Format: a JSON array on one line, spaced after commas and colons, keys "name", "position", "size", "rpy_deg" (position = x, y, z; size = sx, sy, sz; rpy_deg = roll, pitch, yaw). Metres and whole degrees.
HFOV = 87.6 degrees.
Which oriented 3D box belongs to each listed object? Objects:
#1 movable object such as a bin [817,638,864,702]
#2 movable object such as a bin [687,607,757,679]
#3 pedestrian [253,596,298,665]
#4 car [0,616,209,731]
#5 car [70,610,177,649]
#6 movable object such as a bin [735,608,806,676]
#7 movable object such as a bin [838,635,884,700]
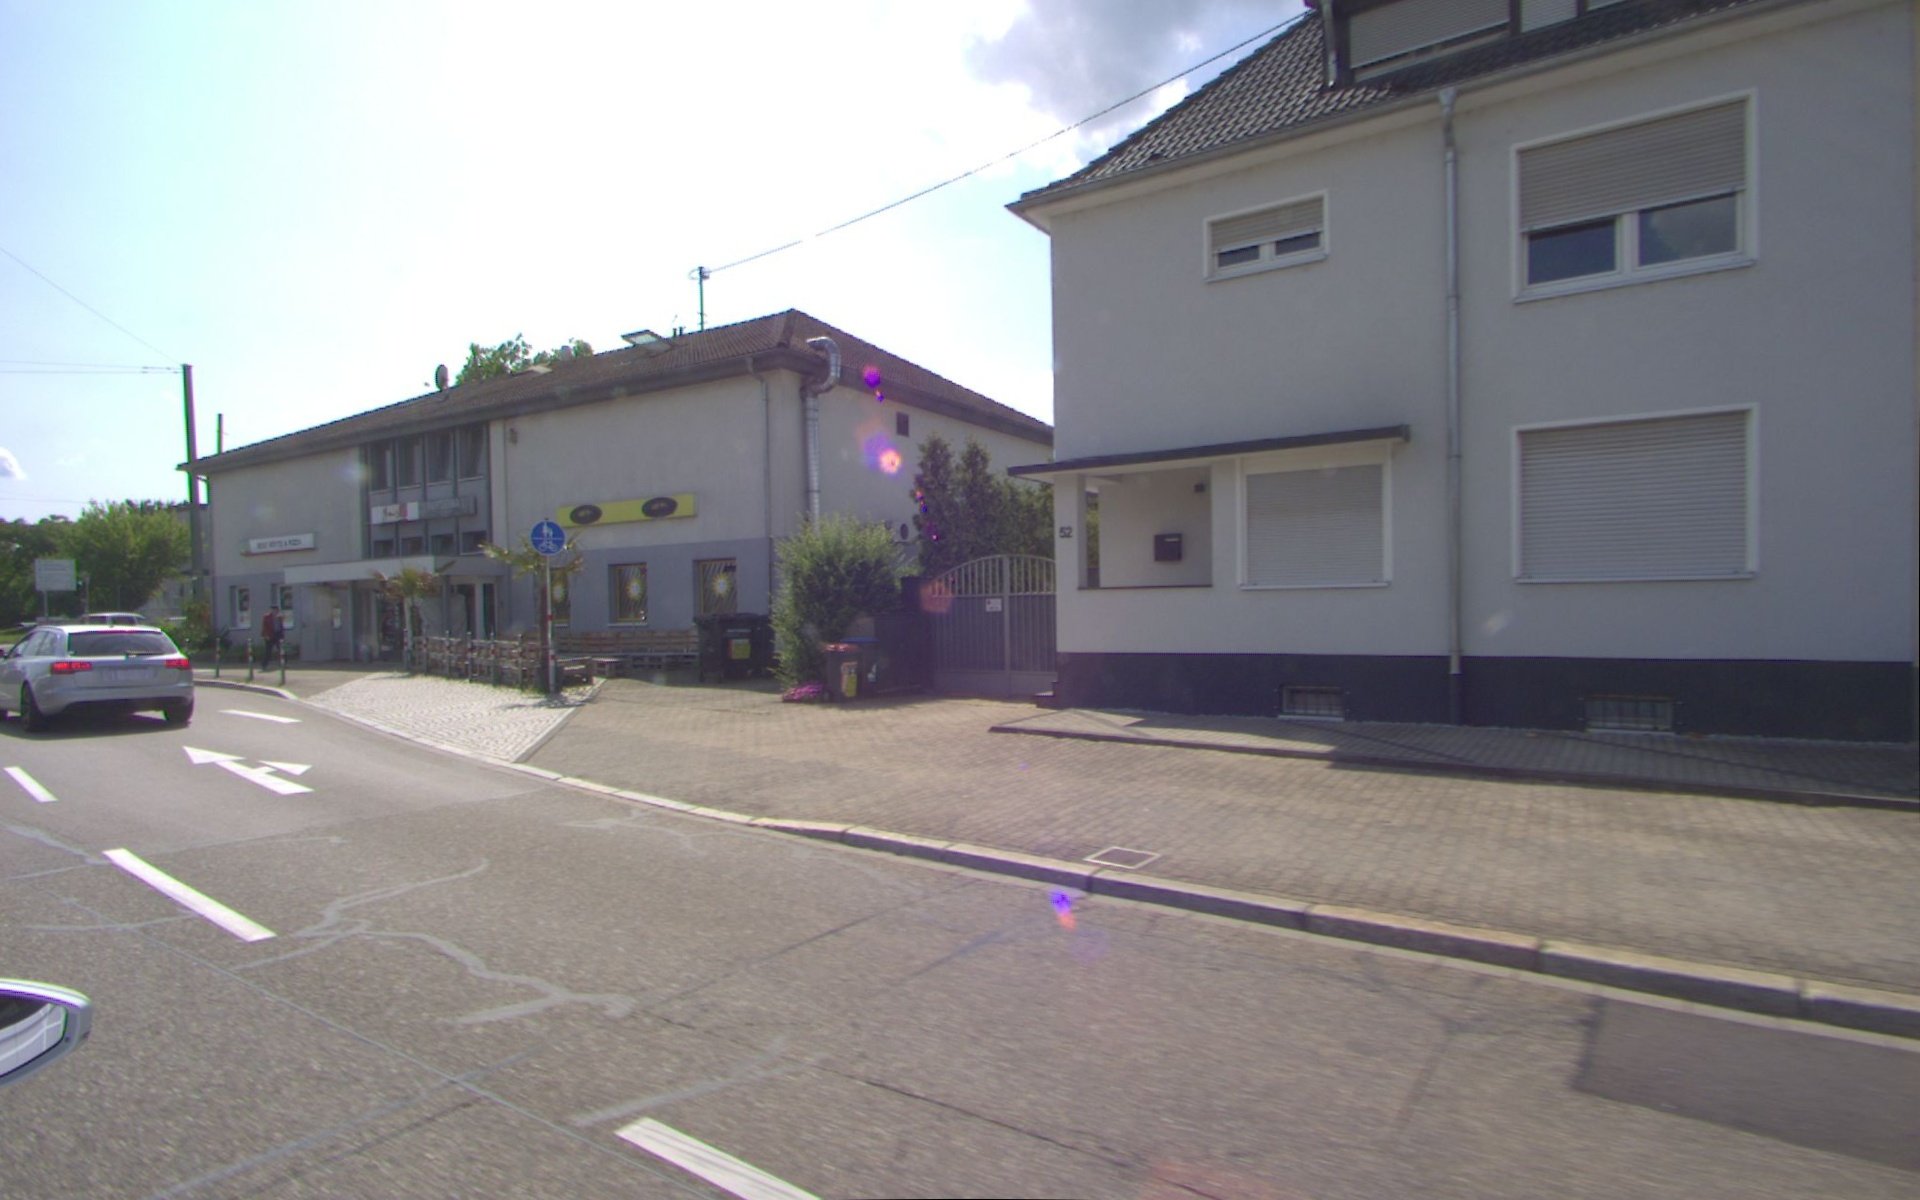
[{"name": "movable object such as a bin", "position": [-1.781, 1.033, 14.925], "size": [0.537, 0.907, 0.444], "rpy_deg": [0, 1, 27]}, {"name": "movable object such as a bin", "position": [-4.769, 0.842, 20.100], "size": [0.874, 1.351, 1.079], "rpy_deg": [2, 3, 34]}, {"name": "pedestrian", "position": [-18.686, 0.823, 27.328], "size": [0.693, 1.807, 0.719], "rpy_deg": [0, 3, 34]}, {"name": "car", "position": [-13.391, 1.007, 15.327], "size": [4.477, 1.512, 1.848], "rpy_deg": [-1, 0, 37]}, {"name": "car", "position": [-41.794, 1.439, 50.151], "size": [1.854, 1.753, 4.094], "rpy_deg": [-3, 0, 0]}, {"name": "movable object such as a bin", "position": [-4.013, 0.865, 21.258], "size": [0.876, 1.351, 1.199], "rpy_deg": [3, 3, 40]}, {"name": "movable object such as a bin", "position": [-1.516, 1.022, 15.352], "size": [0.541, 0.947, 0.440], "rpy_deg": [0, 1, 27]}]
